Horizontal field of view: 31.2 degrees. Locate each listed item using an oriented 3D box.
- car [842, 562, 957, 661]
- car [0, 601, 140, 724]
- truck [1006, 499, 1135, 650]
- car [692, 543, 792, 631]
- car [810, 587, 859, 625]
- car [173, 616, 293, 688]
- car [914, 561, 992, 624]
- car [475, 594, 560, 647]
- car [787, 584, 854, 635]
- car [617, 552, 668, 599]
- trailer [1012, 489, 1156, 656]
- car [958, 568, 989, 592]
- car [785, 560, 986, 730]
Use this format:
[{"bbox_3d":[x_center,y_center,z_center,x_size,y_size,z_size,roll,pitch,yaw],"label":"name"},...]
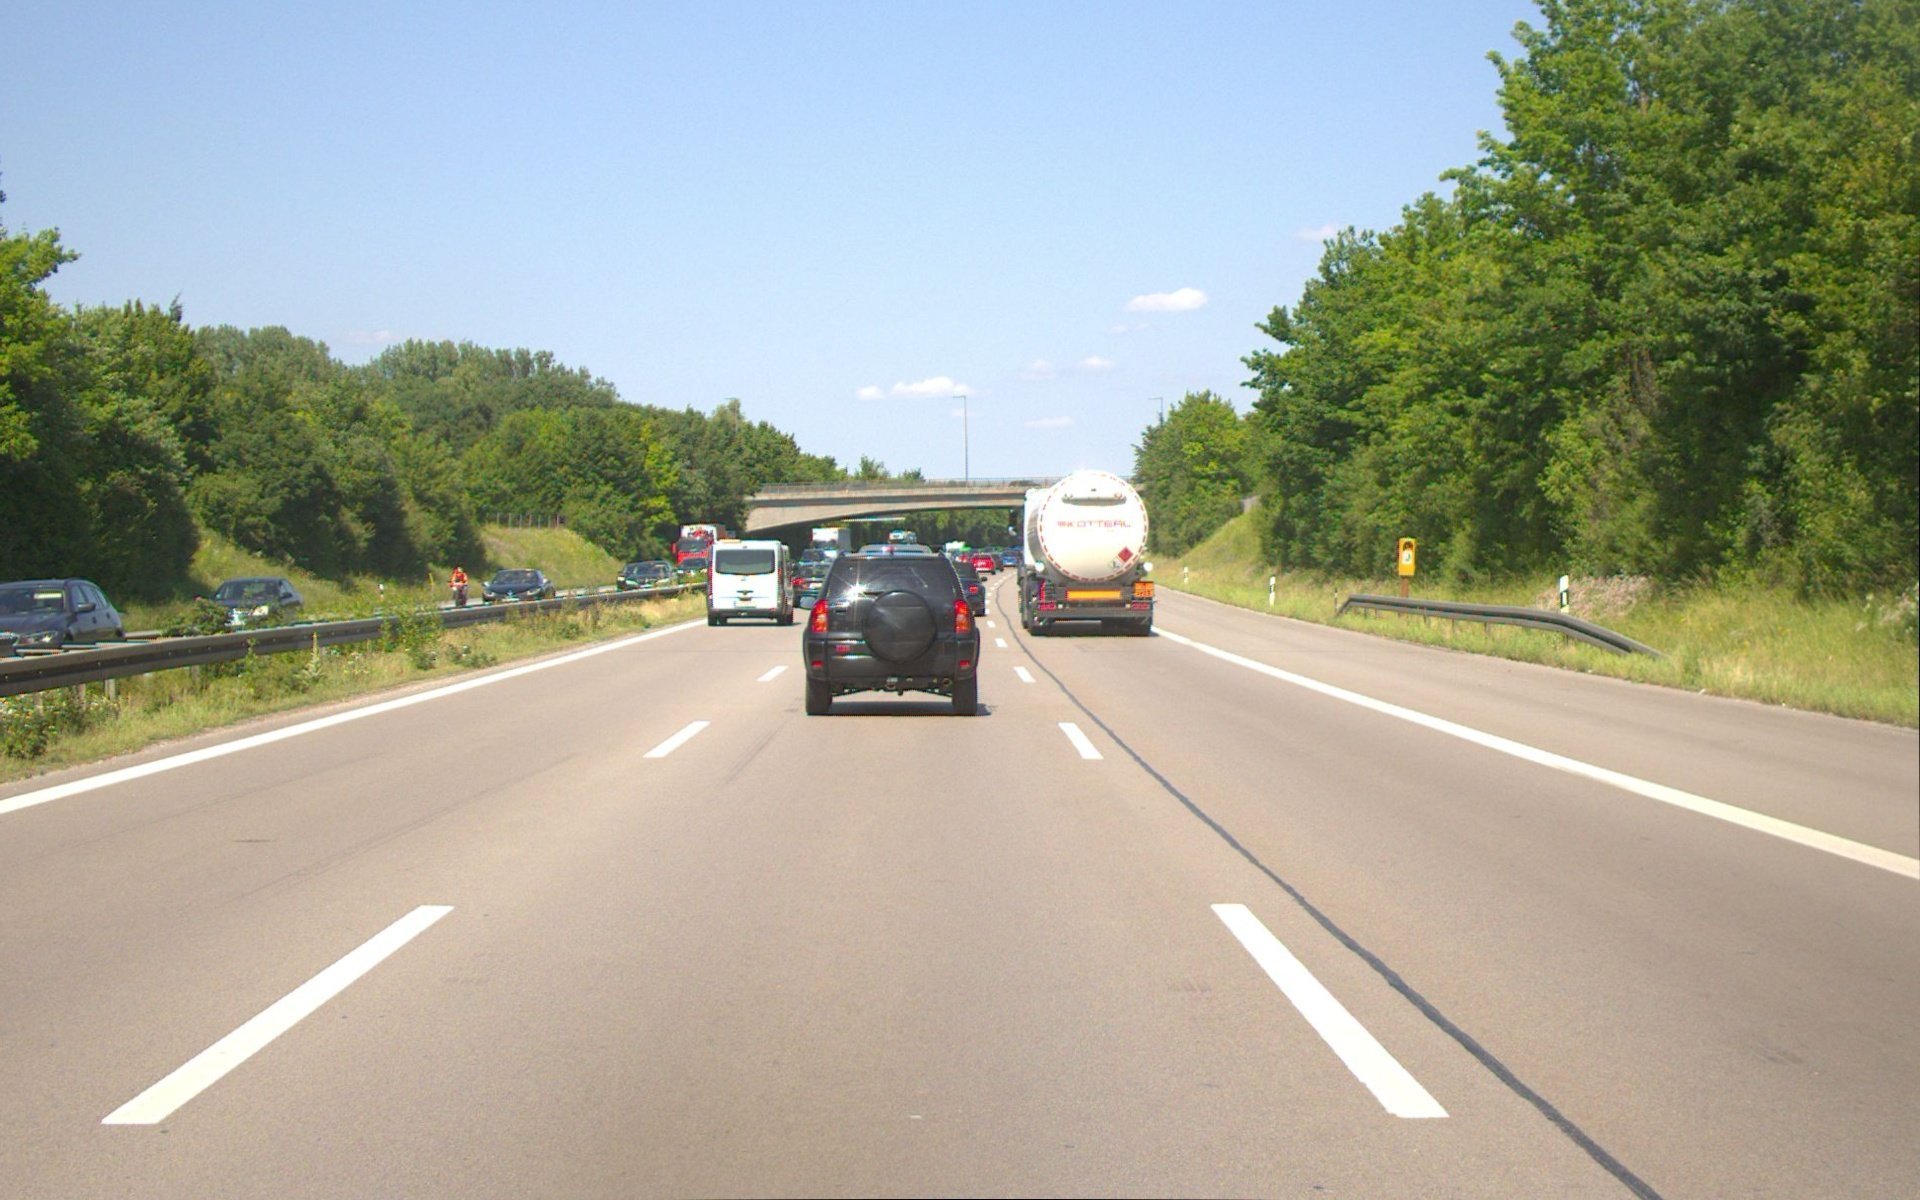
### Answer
[{"bbox_3d":[-1.065,0.208,62.968,1.993,1.700,4.336,-1,0,0],"label":"car"},{"bbox_3d":[-12.811,0.832,47.330,1.993,1.593,4.592,-1,0,-1],"label":"car"},{"bbox_3d":[2.518,-0.578,80.298,2.638,3.363,6.488,1,0,-1],"label":"truck"},{"bbox_3d":[-5.195,-0.307,82.475,1.993,2.007,4.949,-1,0,1],"label":"car"},{"bbox_3d":[-5.417,0.255,148.342,1.993,1.568,4.000,-1,0,-1],"label":"car"},{"bbox_3d":[-16.827,1.180,79.784,1.867,1.579,4.558,-1,0,-1],"label":"car"},{"bbox_3d":[-0.178,-0.191,95.122,1.993,1.678,3.999,0,-1,2],"label":"car"},{"bbox_3d":[-13.074,0.595,101.810,1.993,1.515,4.428,-1,0,-1],"label":"car"},{"bbox_3d":[-4.381,0.304,108.575,1.993,1.547,4.000,0,-1,-1],"label":"car"},{"bbox_3d":[-12.999,-0.986,140.975,1.690,1.875,5.019,-1,0,-1],"label":"car"},{"bbox_3d":[2.601,-0.572,75.304,2.648,3.378,11.152,1,0,0],"label":"trailer"},{"bbox_3d":[0.913,-1.344,230.876,1.993,1.568,4.000,-1,0,-1],"label":"car"},{"bbox_3d":[-0.714,0.446,35.797,1.906,1.659,4.000,0,0,1],"label":"car"}]
